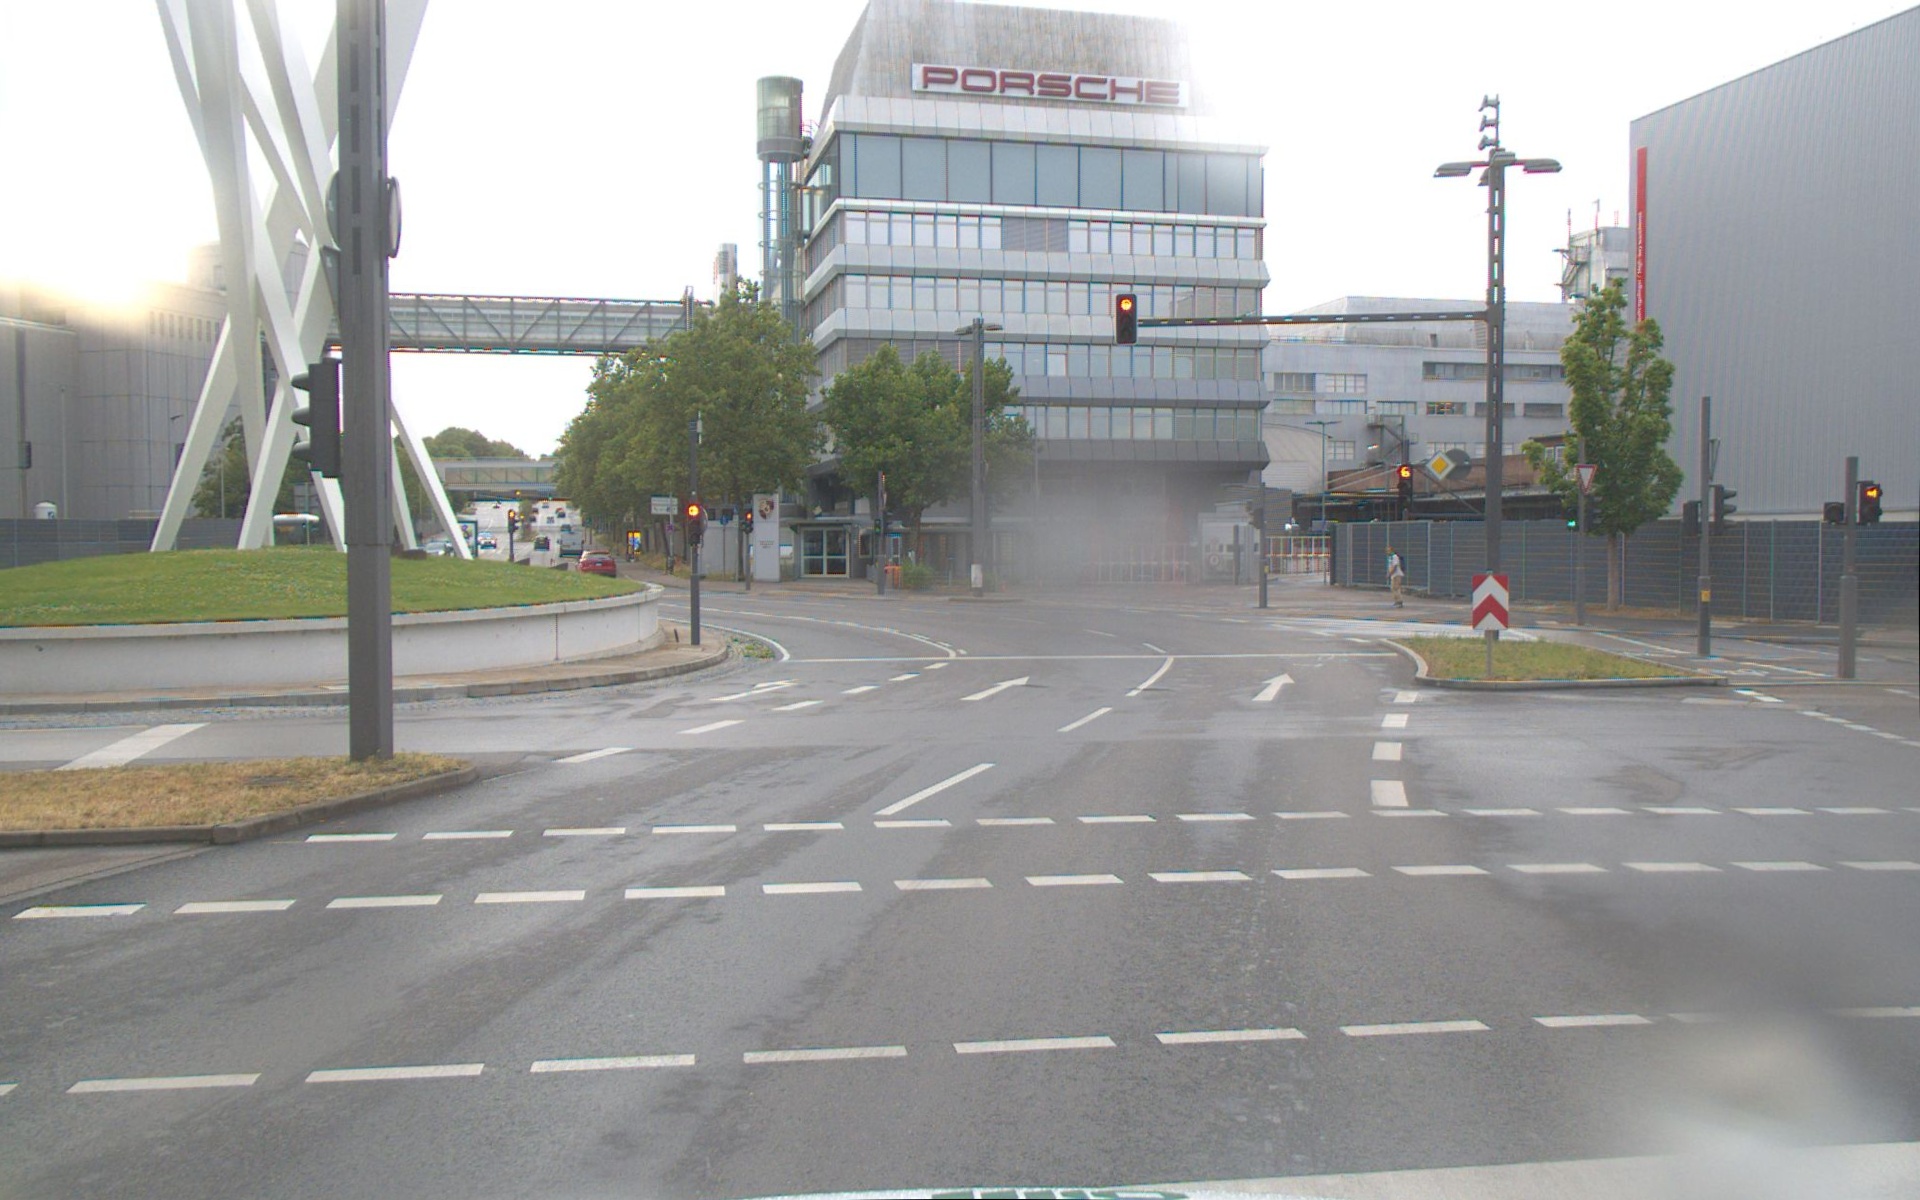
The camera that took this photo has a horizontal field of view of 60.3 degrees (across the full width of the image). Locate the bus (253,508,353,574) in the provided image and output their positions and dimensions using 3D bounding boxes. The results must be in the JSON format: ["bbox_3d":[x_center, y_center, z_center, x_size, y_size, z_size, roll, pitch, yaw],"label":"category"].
[{"bbox_3d":[-35.517,-3.080,89.894,2.621,3.257,12.638,0,1,-10],"label":"bus"}]

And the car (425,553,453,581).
[{"bbox_3d":[-38.745,-2.423,123.052,1.616,2.049,3.747,0,1,-13],"label":"car"}]

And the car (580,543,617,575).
[{"bbox_3d":[-17.991,-2.039,82.366,1.741,1.490,3.722,0,0,-11],"label":"car"}]

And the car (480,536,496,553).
[{"bbox_3d":[-53.596,-6.271,187.876,1.600,1.848,3.718,0,1,-15],"label":"car"}]

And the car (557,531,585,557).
[{"bbox_3d":[-35.123,-5.004,149.292,2.197,2.145,4.931,0,-1,-17],"label":"car"}]

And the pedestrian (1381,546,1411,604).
[{"bbox_3d":[12.513,-0.698,47.490,0.791,1.639,0.770,-1,-1,16],"label":"pedestrian"}]

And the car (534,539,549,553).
[{"bbox_3d":[-45.958,-5.929,181.649,1.531,1.311,3.400,0,0,-15],"label":"car"}]
